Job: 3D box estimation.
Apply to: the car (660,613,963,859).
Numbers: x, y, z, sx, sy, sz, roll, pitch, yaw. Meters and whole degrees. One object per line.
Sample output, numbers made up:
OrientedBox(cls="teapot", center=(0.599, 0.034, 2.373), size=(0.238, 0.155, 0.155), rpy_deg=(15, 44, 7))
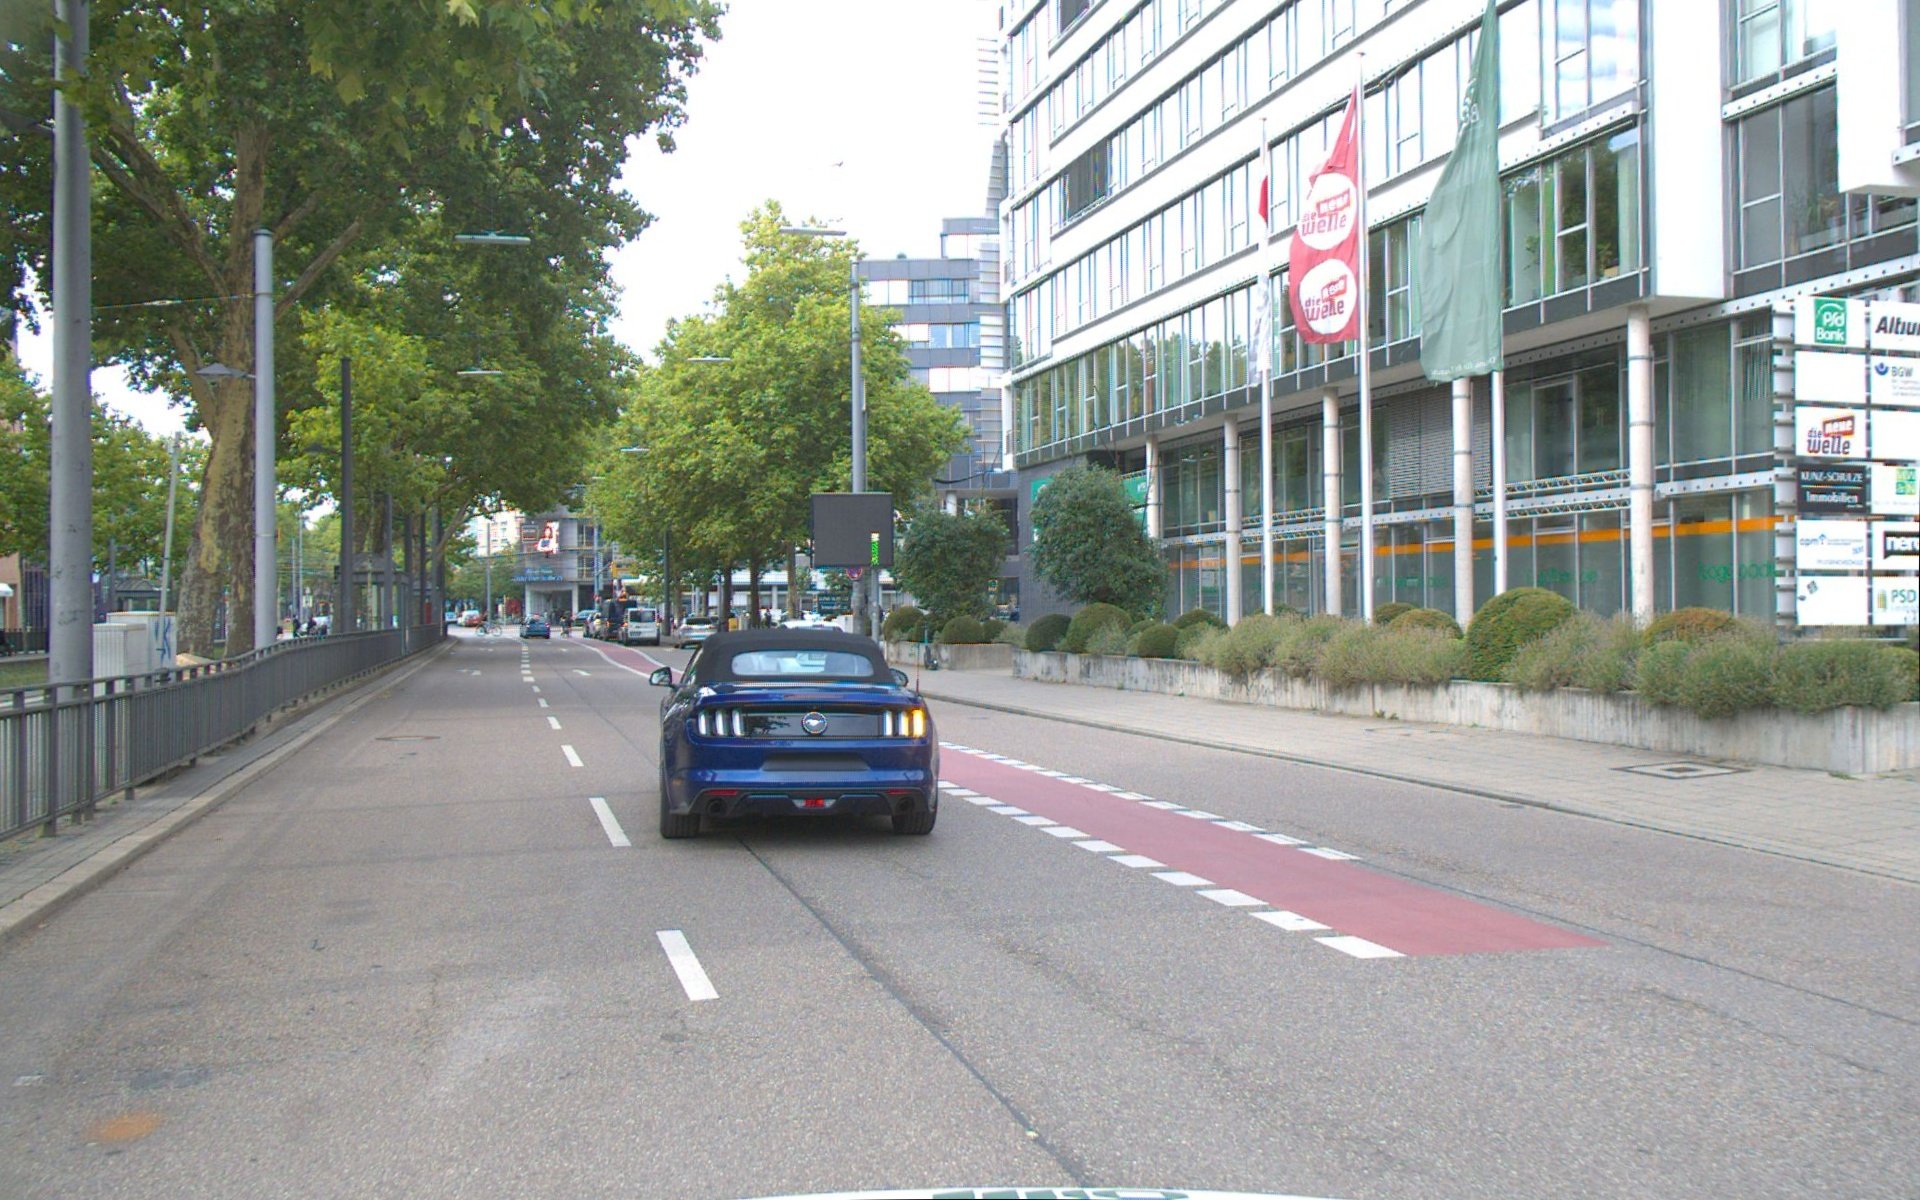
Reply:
OrientedBox(cls="car", center=(-1.285, 0.848, 12.349), size=(1.842, 1.428, 4.271), rpy_deg=(-1, 0, -11))

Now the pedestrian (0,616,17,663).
OrientedBox(cls="pedestrian", center=(-33.354, 1.366, 57.335), size=(0.979, 1.628, 0.846), rpy_deg=(-1, -1, -19))

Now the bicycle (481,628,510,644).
OrientedBox(cls="bicycle", center=(-33.340, 2.582, 118.648), size=(1.985, 1.105, 0.666), rpy_deg=(-1, -1, -16))

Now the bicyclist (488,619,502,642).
OrientedBox(cls="bicyclist", center=(-33.358, 2.183, 118.649), size=(0.990, 1.689, 0.645), rpy_deg=(-1, -1, -16))

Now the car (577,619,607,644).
OrientedBox(cls="car", center=(-24.393, 2.064, 109.504), size=(1.804, 1.547, 4.159), rpy_deg=(-1, -1, -15))

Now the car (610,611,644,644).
OrientedBox(cls="car", center=(-20.310, 1.657, 100.818), size=(1.804, 1.937, 4.159), rpy_deg=(-1, -1, -15))

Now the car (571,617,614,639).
OrientedBox(cls="car", center=(-35.099, 2.694, 158.056), size=(3.916, 2.049, 1.994), rpy_deg=(-1, -1, -11))

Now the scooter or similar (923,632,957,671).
OrientedBox(cls="scooter or similar", center=(-0.529, 1.335, 43.302), size=(0.577, 0.967, 1.854), rpy_deg=(-1, -1, -11))

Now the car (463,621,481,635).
OrientedBox(cls="car", center=(-55.557, 3.179, 188.488), size=(1.804, 1.547, 4.159), rpy_deg=(-1, -1, -15))

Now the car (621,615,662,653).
OrientedBox(cls="car", center=(-17.072, 1.790, 88.596), size=(1.859, 1.937, 4.113), rpy_deg=(-1, -1, -15))

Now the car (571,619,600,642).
OrientedBox(cls="car", center=(-26.234, 2.118, 115.813), size=(1.804, 1.547, 4.159), rpy_deg=(-1, -1, -15))

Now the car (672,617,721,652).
OrientedBox(cls="car", center=(-12.725, 1.624, 79.717), size=(1.850, 1.610, 4.305), rpy_deg=(0, 0, -16))

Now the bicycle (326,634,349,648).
OrientedBox(cls="bicycle", center=(-43.339, 2.855, 115.148), size=(1.383, 0.947, 0.510), rpy_deg=(-1, -1, -16))

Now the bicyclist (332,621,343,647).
OrientedBox(cls="bicyclist", center=(-43.339, 2.361, 115.161), size=(0.660, 1.761, 0.510), rpy_deg=(-1, -1, -16))

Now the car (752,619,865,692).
OrientedBox(cls="car", center=(-3.393, 1.178, 36.276), size=(1.804, 1.464, 4.171), rpy_deg=(-1, -1, -15))

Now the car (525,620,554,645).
OrientedBox(cls="car", center=(-27.758, 2.122, 109.047), size=(1.804, 1.574, 4.198), rpy_deg=(-1, -1, -15))
